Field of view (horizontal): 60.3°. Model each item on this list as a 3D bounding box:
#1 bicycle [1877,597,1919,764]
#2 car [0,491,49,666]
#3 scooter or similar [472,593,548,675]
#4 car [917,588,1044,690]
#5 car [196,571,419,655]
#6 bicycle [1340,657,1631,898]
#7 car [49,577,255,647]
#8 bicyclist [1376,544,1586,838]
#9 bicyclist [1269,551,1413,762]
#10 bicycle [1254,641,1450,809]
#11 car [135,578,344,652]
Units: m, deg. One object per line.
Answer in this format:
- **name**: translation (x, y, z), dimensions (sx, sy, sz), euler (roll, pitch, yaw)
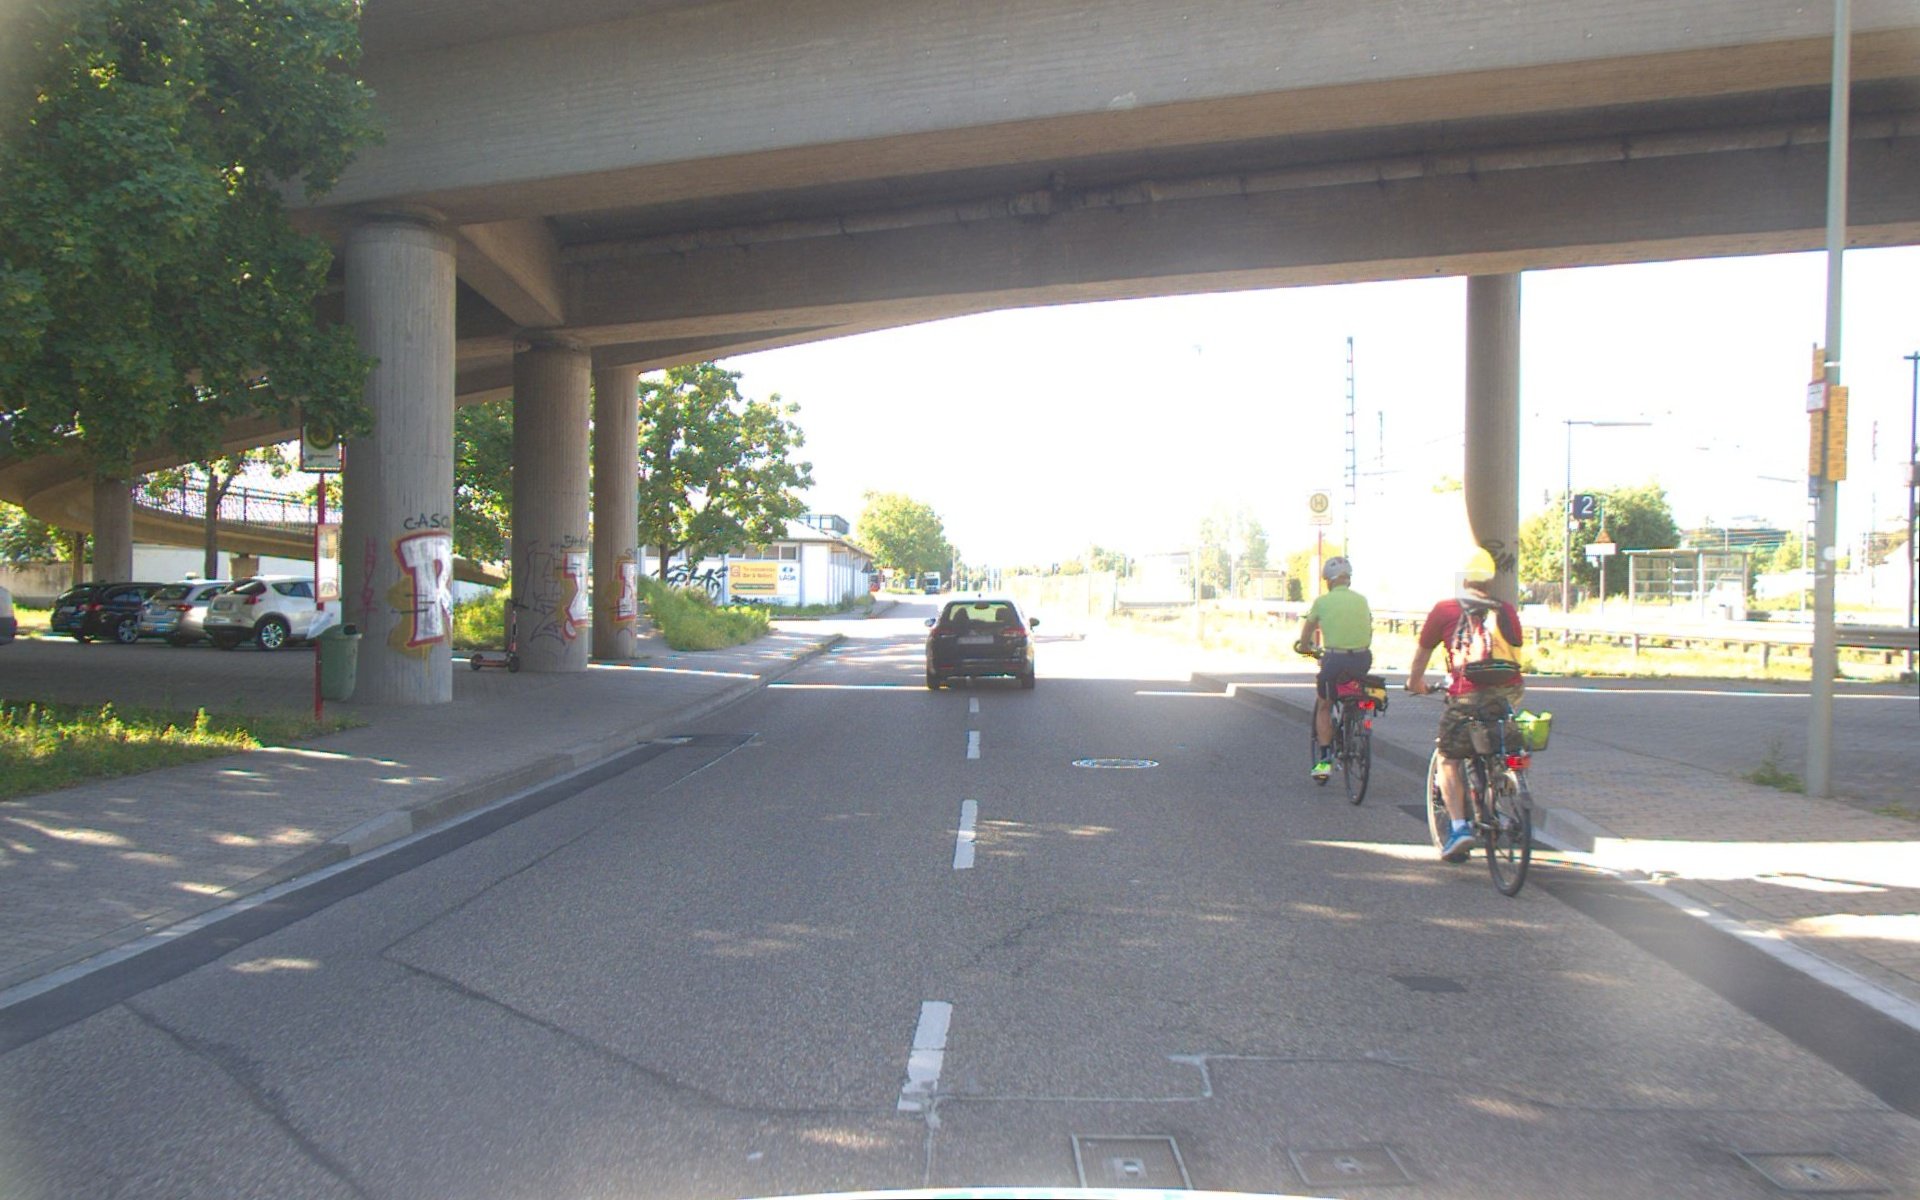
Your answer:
- **bicycle**: translation (7.285, 0.580, 11.357), dimensions (0.585, 1.203, 2.178), euler (0, 0, -6)
- **car**: translation (-16.822, -0.299, 24.258), dimensions (1.903, 2.728, 6.001), euler (0, 1, 28)
- **scooter or similar**: translation (-7.463, 0.551, 27.409), dimensions (1.284, 1.323, 0.576), euler (0, 0, 39)
- **car**: translation (0.351, 0.590, 27.356), dimensions (1.902, 1.515, 4.566), euler (-1, 0, 1)
- **car**: translation (-14.237, 0.258, 36.316), dimensions (1.830, 1.670, 4.270), euler (-3, -1, 33)
- **bicycle**: translation (2.802, 0.898, 9.120), dimensions (0.824, 1.070, 2.188), euler (0, 0, -3)
- **car**: translation (-19.269, 0.260, 39.621), dimensions (1.646, 1.579, 4.292), euler (0, 0, 29)
- **bicyclist**: translation (2.808, 0.465, 9.005), dimensions (0.824, 1.514, 0.923), euler (0, 0, -3)
- **bicyclist**: translation (2.833, 0.404, 12.372), dimensions (0.824, 1.514, 0.923), euler (0, 0, -4)
- **bicycle**: translation (2.851, 0.872, 12.291), dimensions (0.824, 1.070, 2.188), euler (0, 0, -3)
- **car**: translation (-16.360, 0.316, 37.768), dimensions (1.646, 1.579, 4.292), euler (0, 0, 29)
